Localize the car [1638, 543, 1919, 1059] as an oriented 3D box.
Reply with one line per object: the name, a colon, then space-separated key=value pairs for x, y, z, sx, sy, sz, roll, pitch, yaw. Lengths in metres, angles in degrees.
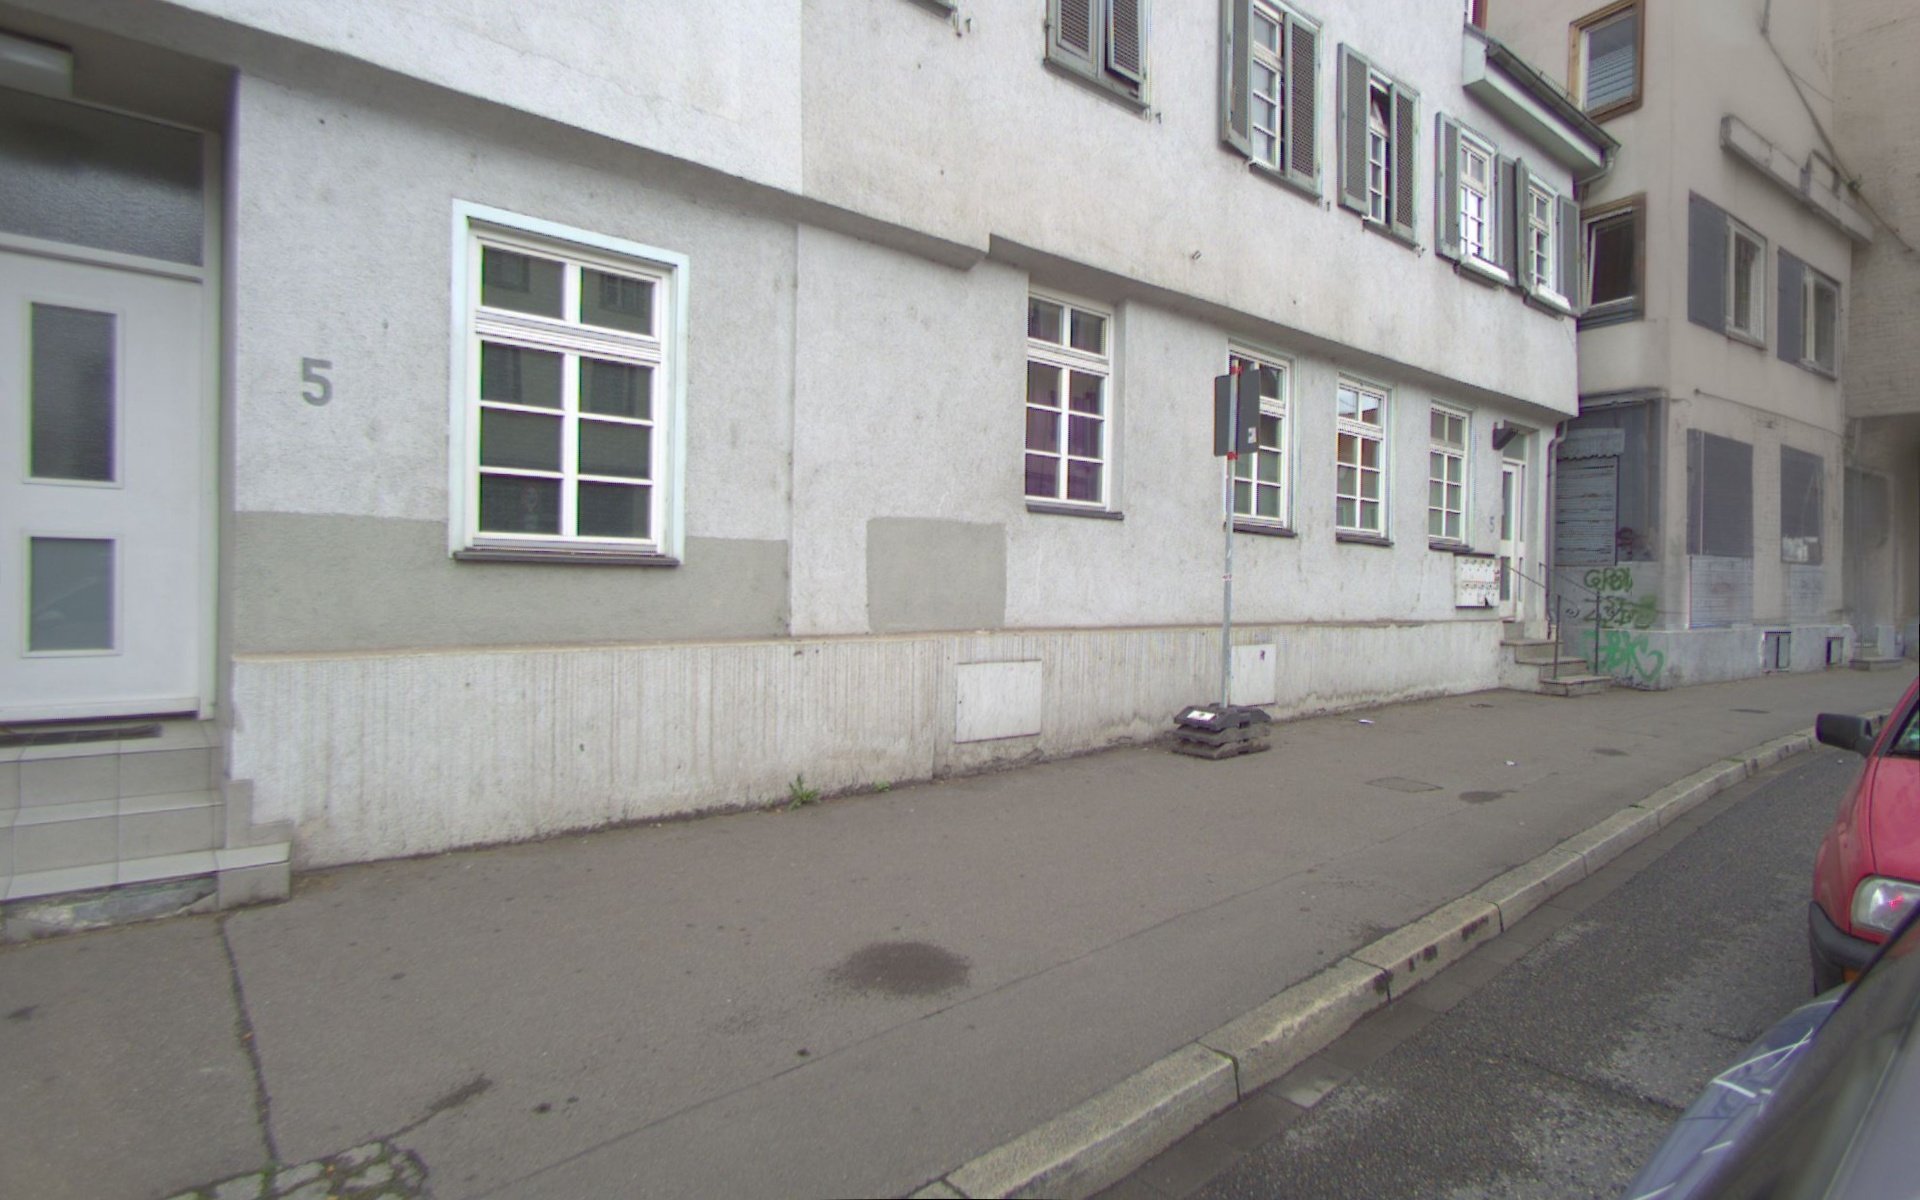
car: x=4.291 y=0.570 z=3.994 sx=3.931 sy=1.443 sz=1.791 roll=0 pitch=1 yaw=-42

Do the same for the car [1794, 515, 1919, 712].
car: x=10.163 y=0.135 z=10.100 sx=4.176 sy=1.725 sz=1.816 roll=1 pitch=1 yaw=-36
